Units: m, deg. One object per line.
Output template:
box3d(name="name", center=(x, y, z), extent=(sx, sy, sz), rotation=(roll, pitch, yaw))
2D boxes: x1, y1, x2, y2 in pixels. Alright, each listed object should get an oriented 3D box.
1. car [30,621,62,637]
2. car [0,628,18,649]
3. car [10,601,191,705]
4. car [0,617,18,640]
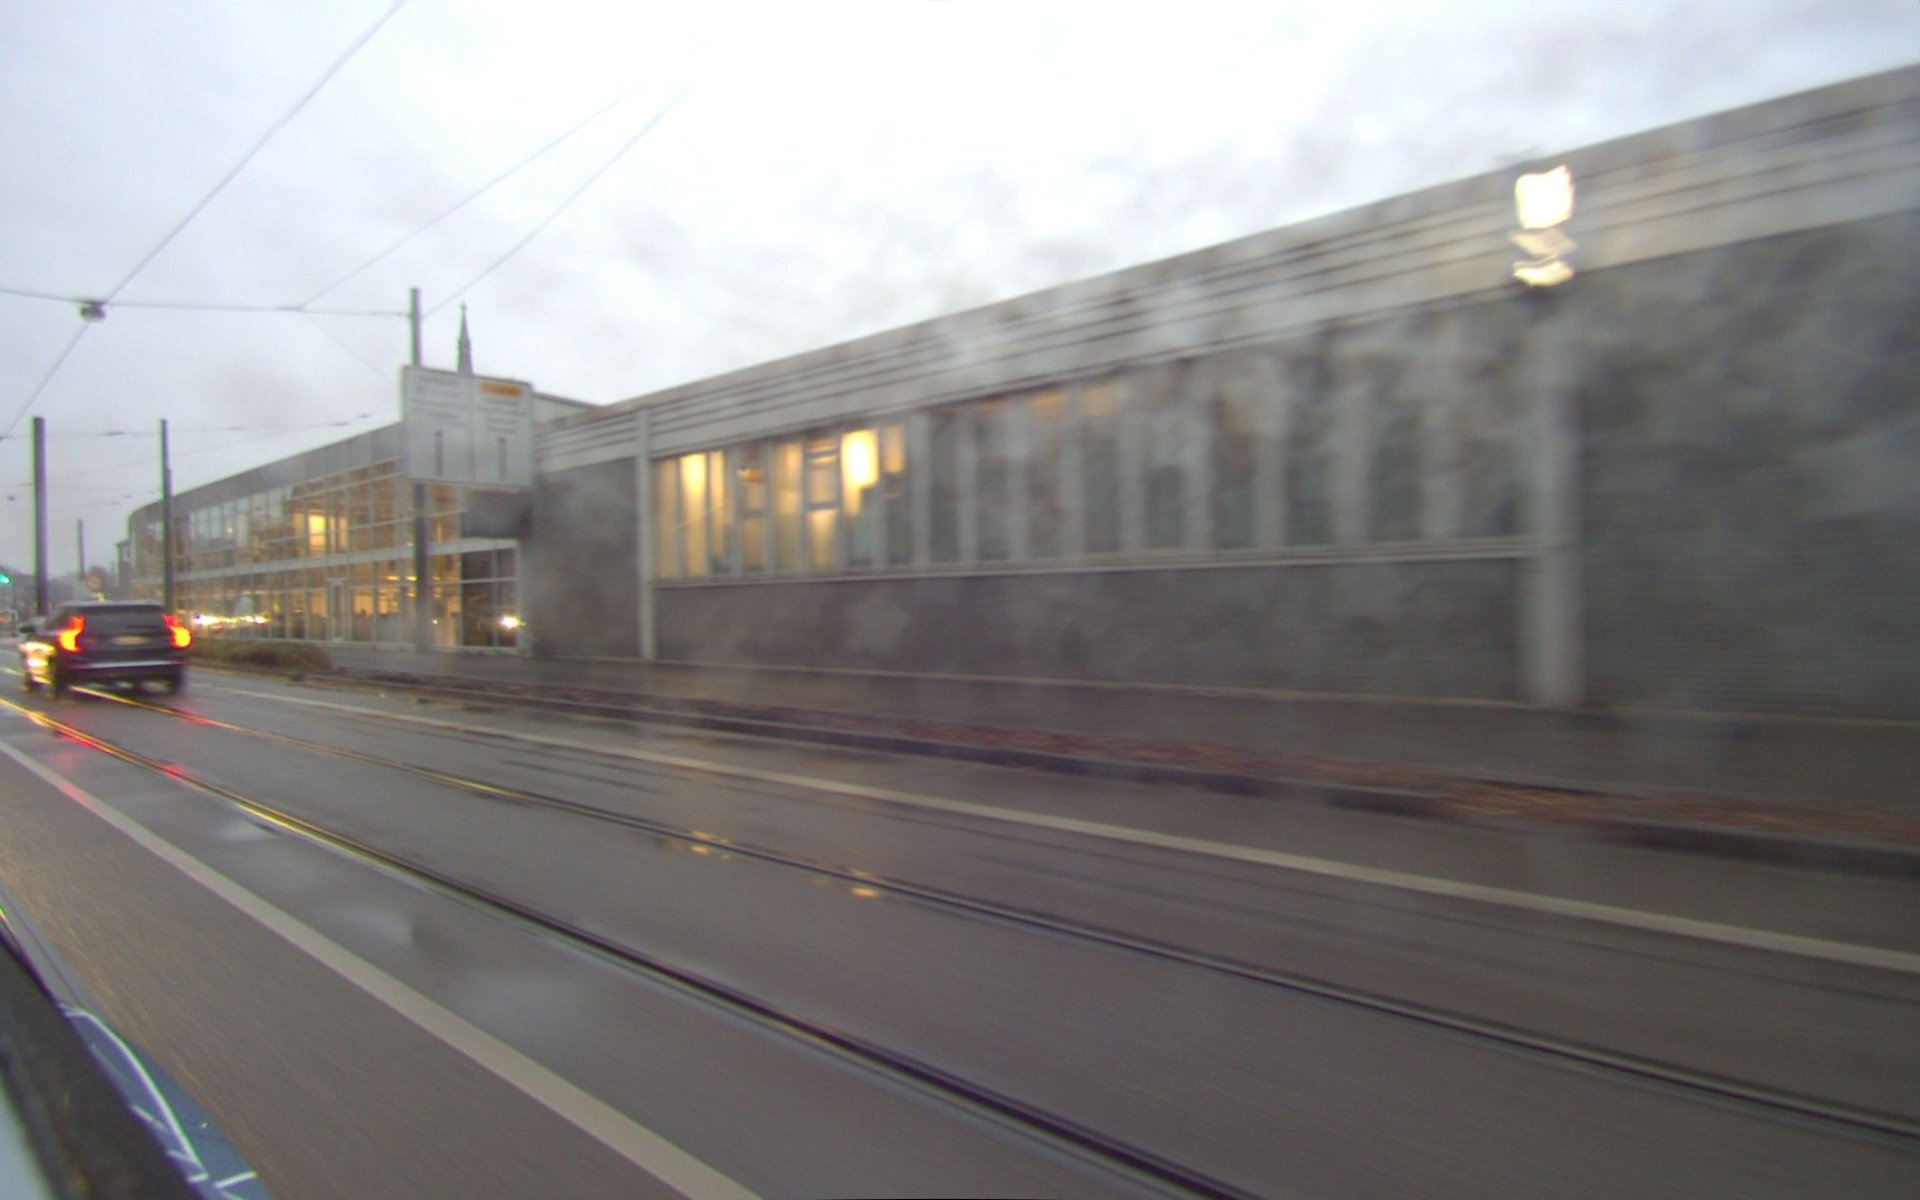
box3d(name="car", center=(-87.661, 2.734, 97.034), extent=(4.588, 1.432, 1.971), rotation=(-1, 0, 44))
box3d(name="car", center=(-75.609, 3.001, 79.637), extent=(4.441, 1.590, 1.821), rotation=(-1, 0, 43))
box3d(name="car", center=(-16.290, 0.923, 19.094), extent=(4.757, 1.723, 1.856), rotation=(-1, -1, 40))
box3d(name="car", center=(-90.075, 2.689, 95.176), extent=(4.686, 2.029, 1.971), rotation=(-1, 1, 44))
